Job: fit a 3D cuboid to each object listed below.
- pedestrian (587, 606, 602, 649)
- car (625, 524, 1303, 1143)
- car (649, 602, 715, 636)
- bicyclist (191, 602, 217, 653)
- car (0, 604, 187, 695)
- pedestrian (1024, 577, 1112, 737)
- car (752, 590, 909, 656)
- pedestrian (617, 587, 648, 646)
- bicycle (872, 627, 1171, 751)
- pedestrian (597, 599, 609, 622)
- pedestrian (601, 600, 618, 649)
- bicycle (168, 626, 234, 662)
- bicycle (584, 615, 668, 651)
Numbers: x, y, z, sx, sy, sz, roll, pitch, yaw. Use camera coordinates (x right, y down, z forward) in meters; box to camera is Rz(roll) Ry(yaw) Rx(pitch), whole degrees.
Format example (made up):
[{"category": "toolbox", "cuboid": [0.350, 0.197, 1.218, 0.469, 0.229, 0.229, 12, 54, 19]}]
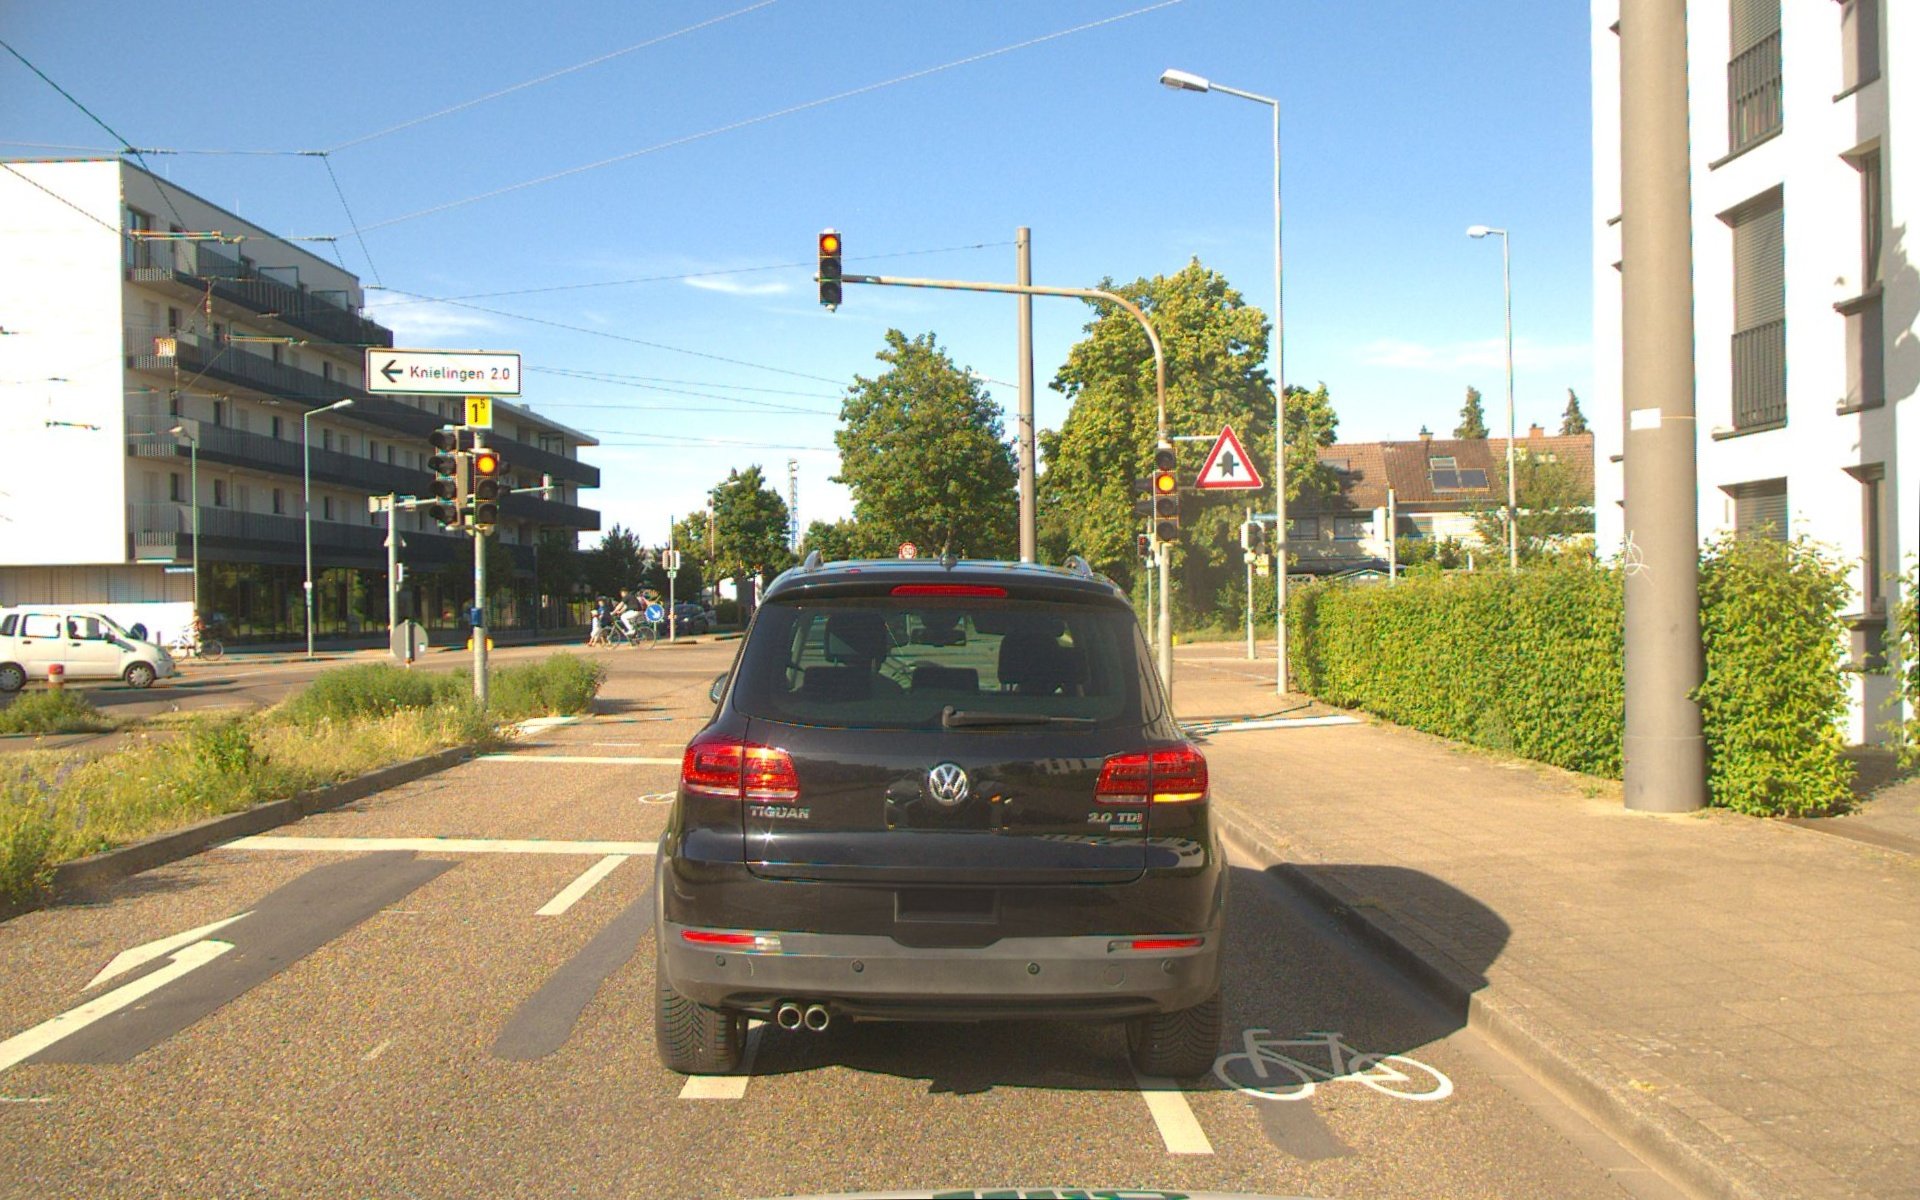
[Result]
[{"category": "pedestrian", "cuboid": [-13.114, 0.983, 59.365, 0.433, 1.529, 0.517, 1, -1, -6]}, {"category": "car", "cuboid": [-0.012, 0.648, 6.523, 1.831, 1.666, 3.999, 1, 0, -1]}, {"category": "car", "cuboid": [-13.903, 0.951, 82.875, 1.951, 1.601, 4.343, 1, 0, 9]}, {"category": "bicyclist", "cuboid": [-24.688, 0.887, 54.014, 0.633, 1.642, 0.775, 1, -1, -35]}, {"category": "car", "cuboid": [-18.044, 0.985, 34.264, 3.631, 1.750, 1.853, -1, 0, -27]}, {"category": "pedestrian", "cuboid": [1.134, 0.590, 17.497, 0.834, 1.622, 0.913, -1, 0, 0]}, {"category": "car", "cuboid": [-3.570, 0.620, 45.854, 3.902, 1.713, 2.001, 1, 0, 14]}, {"category": "pedestrian", "cuboid": [-9.848, 0.489, 49.711, 0.796, 1.721, 0.620, -1, 0, -2]}, {"category": "bicycle", "cuboid": [0.650, 0.924, 17.509, 3.050, 1.194, 0.932, -1, 0, 2]}, {"category": "pedestrian", "cuboid": [-23.625, 0.711, 109.388, 0.629, 1.535, 0.596, 1, -1, -1]}, {"category": "pedestrian", "cuboid": [-12.716, 0.884, 59.962, 0.532, 1.774, 0.517, 1, -1, -6]}, {"category": "bicycle", "cuboid": [-24.761, 1.439, 53.957, 1.840, 1.144, 0.812, 1, -1, -36]}, {"category": "bicycle", "cuboid": [-10.030, 0.981, 49.698, 2.361, 1.020, 0.640, -1, 0, -2]}]
